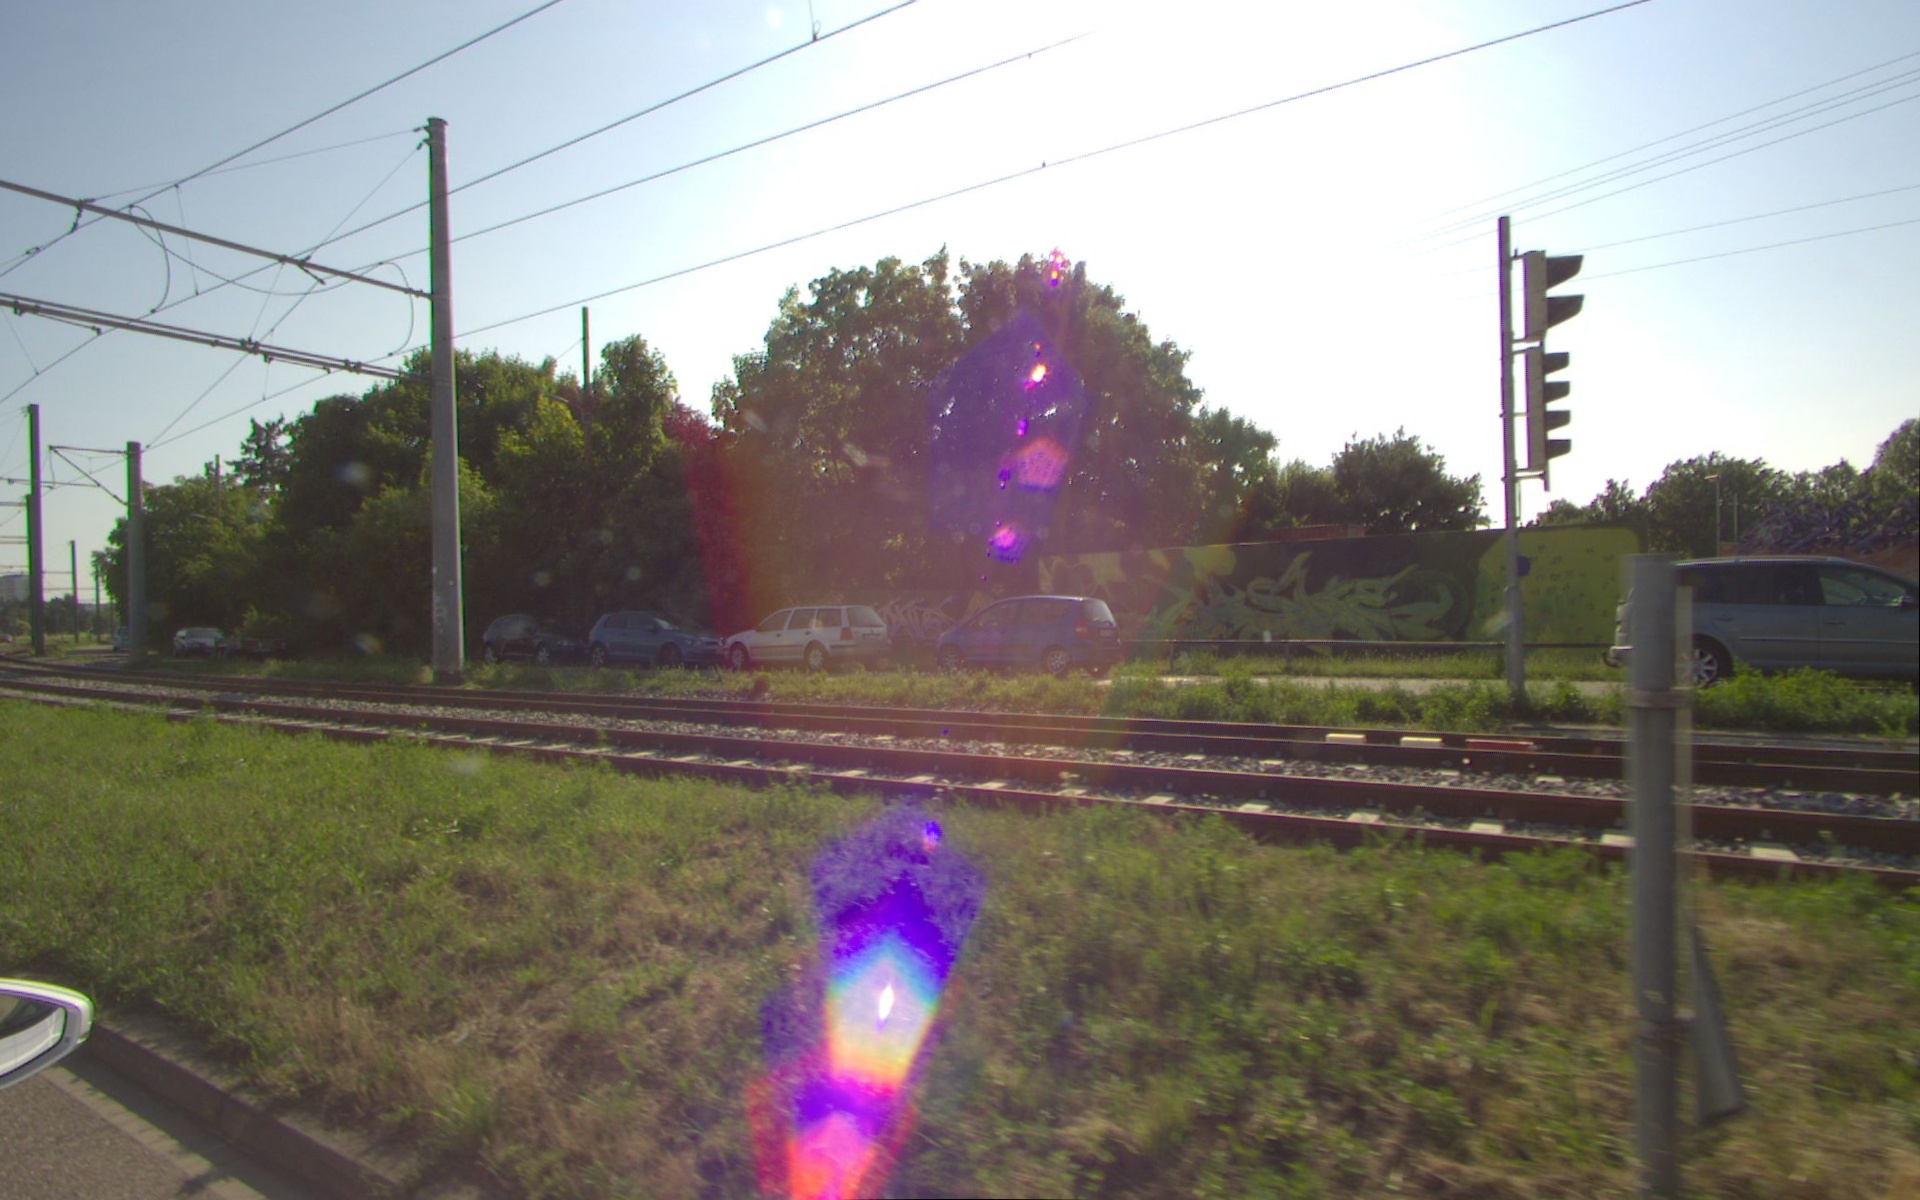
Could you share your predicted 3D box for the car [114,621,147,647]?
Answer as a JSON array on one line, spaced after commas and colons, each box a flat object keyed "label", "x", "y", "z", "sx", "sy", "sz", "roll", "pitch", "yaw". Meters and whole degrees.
[{"label": "car", "x": -67.846, "y": 2.814, "z": 81.946, "sx": 1.978, "sy": 2.029, "sz": 5.026, "roll": 3, "pitch": -3, "yaw": -39}]

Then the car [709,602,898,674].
[{"label": "car", "x": -3.633, "y": 0.821, "z": 22.838, "sx": 4.332, "sy": 1.485, "sz": 1.704, "roll": -1, "pitch": 0, "yaw": 36}]

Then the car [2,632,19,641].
[{"label": "car", "x": -167.289, "y": 6.483, "z": 176.491, "sx": 1.697, "sy": 1.569, "sz": 3.900, "roll": 0, "pitch": -1, "yaw": -36}]

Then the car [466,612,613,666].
[{"label": "car", "x": -11.827, "y": 1.088, "z": 28.071, "sx": 4.459, "sy": 1.428, "sz": 1.619, "roll": -1, "pitch": -2, "yaw": 34}]

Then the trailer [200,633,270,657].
[{"label": "trailer", "x": -31.390, "y": 1.944, "z": 43.332, "sx": 3.687, "sy": 0.951, "sz": 1.723, "roll": -2, "pitch": -4, "yaw": 42}]

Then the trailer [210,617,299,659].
[{"label": "trailer", "x": -28.570, "y": 1.540, "z": 40.488, "sx": 4.212, "sy": 1.616, "sz": 2.017, "roll": -2, "pitch": -3, "yaw": 42}]

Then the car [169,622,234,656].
[{"label": "car", "x": -35.076, "y": 1.785, "z": 46.277, "sx": 4.831, "sy": 1.475, "sz": 1.689, "roll": -1, "pitch": -3, "yaw": 45}]

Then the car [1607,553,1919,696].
[{"label": "car", "x": 10.725, "y": 0.279, "z": 12.425, "sx": 4.415, "sy": 1.632, "sz": 1.520, "roll": -1, "pitch": 1, "yaw": 29}]

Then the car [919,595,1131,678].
[{"label": "car", "x": 1.215, "y": 0.693, "z": 19.461, "sx": 3.862, "sy": 1.448, "sz": 1.672, "roll": -1, "pitch": -2, "yaw": 38}]

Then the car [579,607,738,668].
[{"label": "car", "x": -7.637, "y": 0.936, "z": 25.252, "sx": 4.089, "sy": 1.419, "sz": 1.482, "roll": -1, "pitch": 0, "yaw": 31}]
